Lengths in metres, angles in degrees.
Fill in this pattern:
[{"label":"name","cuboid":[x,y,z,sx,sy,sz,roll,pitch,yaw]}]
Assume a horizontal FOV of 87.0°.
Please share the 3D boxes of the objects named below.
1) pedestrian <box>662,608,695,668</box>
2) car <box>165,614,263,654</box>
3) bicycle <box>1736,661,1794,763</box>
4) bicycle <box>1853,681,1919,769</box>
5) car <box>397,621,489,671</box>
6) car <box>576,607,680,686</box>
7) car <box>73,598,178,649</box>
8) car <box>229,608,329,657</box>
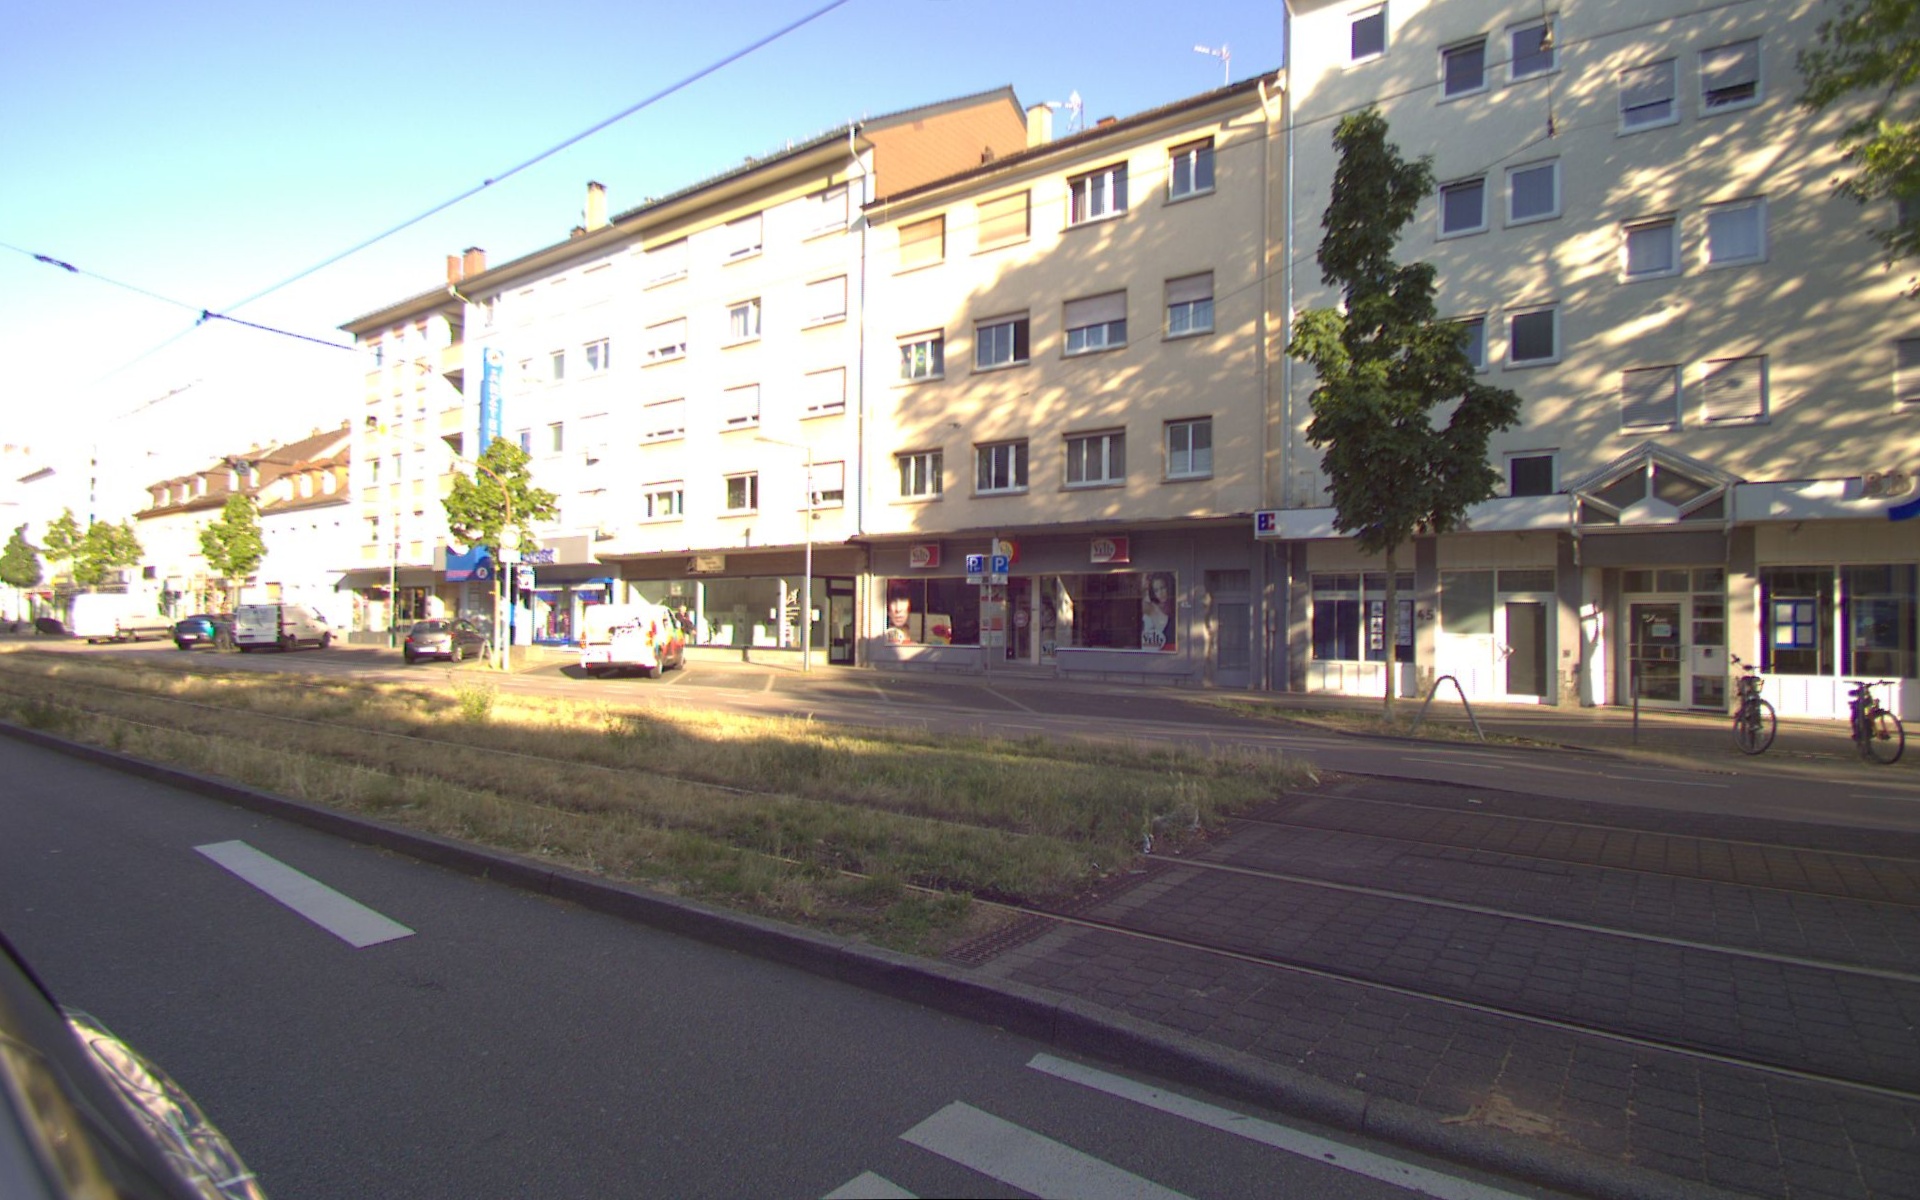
[{"label":"pedestrian","cuboid":[-8.804,1.180,31.622,0.745,1.841,0.919,1,-1,-34]},{"label":"car","cuboid":[-34.283,1.524,46.647,1.830,1.727,3.919,0,0,-4]},{"label":"bicycle","cuboid":[10.300,1.393,12.979,0.511,1.147,1.724,-1,-1,36]},{"label":"bicycle","cuboid":[11.334,1.494,12.358,0.471,0.895,1.724,-1,-1,36]},{"label":"car","cuboid":[-17.496,1.513,34.429,1.708,1.508,4.009,0,0,-10]},{"label":"car","cuboid":[-8.783,1.161,27.131,1.830,1.913,4.005,0,0,-6]},{"label":"car","cuboid":[-45.305,1.234,55.147,1.895,2.634,6.608,0,0,-16]},{"label":"car","cuboid":[-28.637,1.307,42.739,1.828,1.952,4.514,0,0,-10]}]
